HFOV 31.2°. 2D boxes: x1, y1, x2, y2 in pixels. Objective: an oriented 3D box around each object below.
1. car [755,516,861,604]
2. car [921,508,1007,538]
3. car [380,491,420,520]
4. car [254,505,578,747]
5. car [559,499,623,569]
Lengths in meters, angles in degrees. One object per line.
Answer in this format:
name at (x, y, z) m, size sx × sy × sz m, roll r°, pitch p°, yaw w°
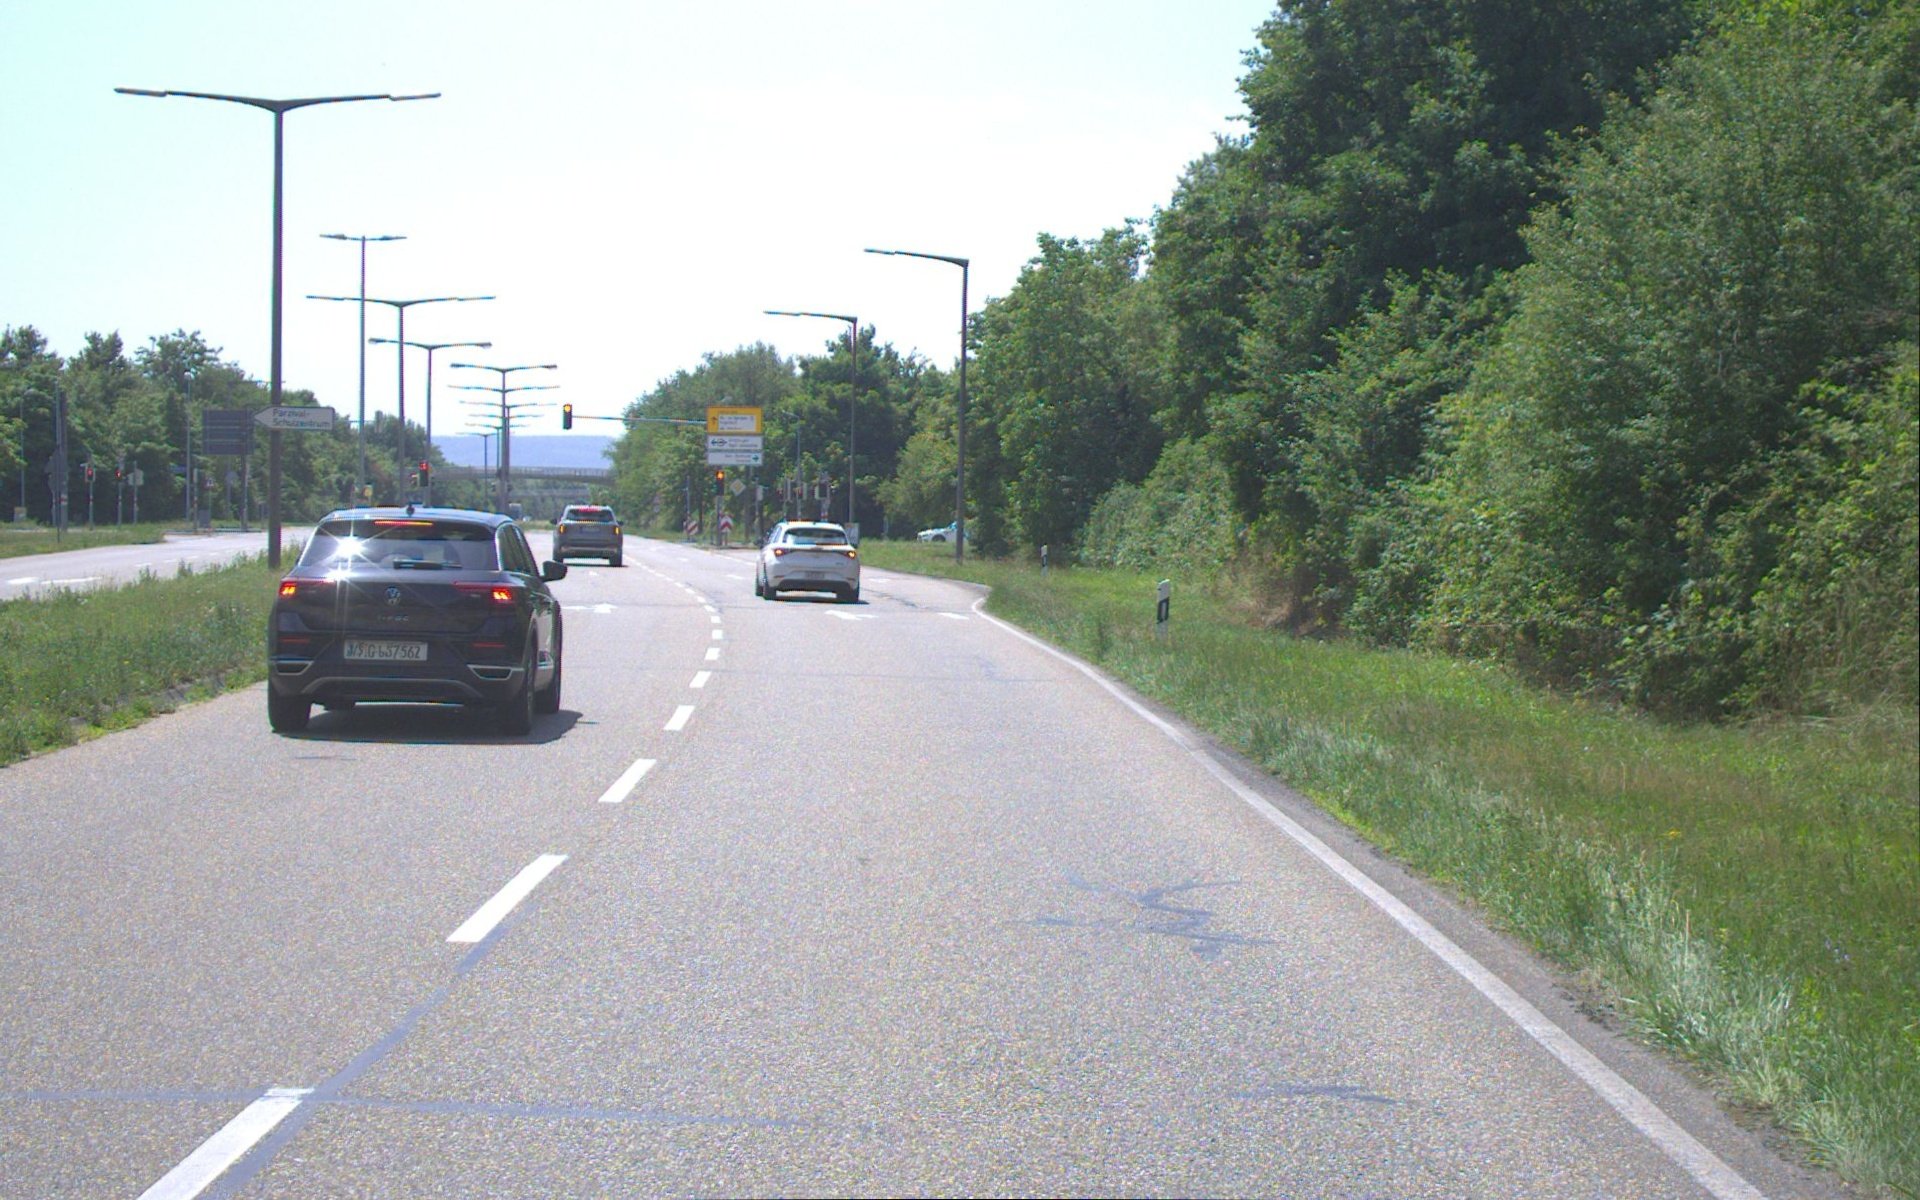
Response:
car at (-2.852, -0.763, 63.860) m, size 1.797 × 1.577 × 4.001 m, roll 1°, pitch 1°, yaw -5°
car at (0.196, -4.028, 180.347) m, size 4.100 × 1.520 × 1.939 m, roll 1°, pitch 2°, yaw -15°
car at (-31.031, -5.230, 190.669) m, size 1.828 × 1.514 × 4.001 m, roll 2°, pitch 1°, yaw -4°
car at (-3.795, 0.129, 24.599) m, size 1.755 × 1.550 × 4.000 m, roll 1°, pitch 1°, yaw -2°
car at (-10.524, -1.892, 97.913) m, size 1.755 × 1.922 × 4.001 m, roll 1°, pitch 1°, yaw -6°
